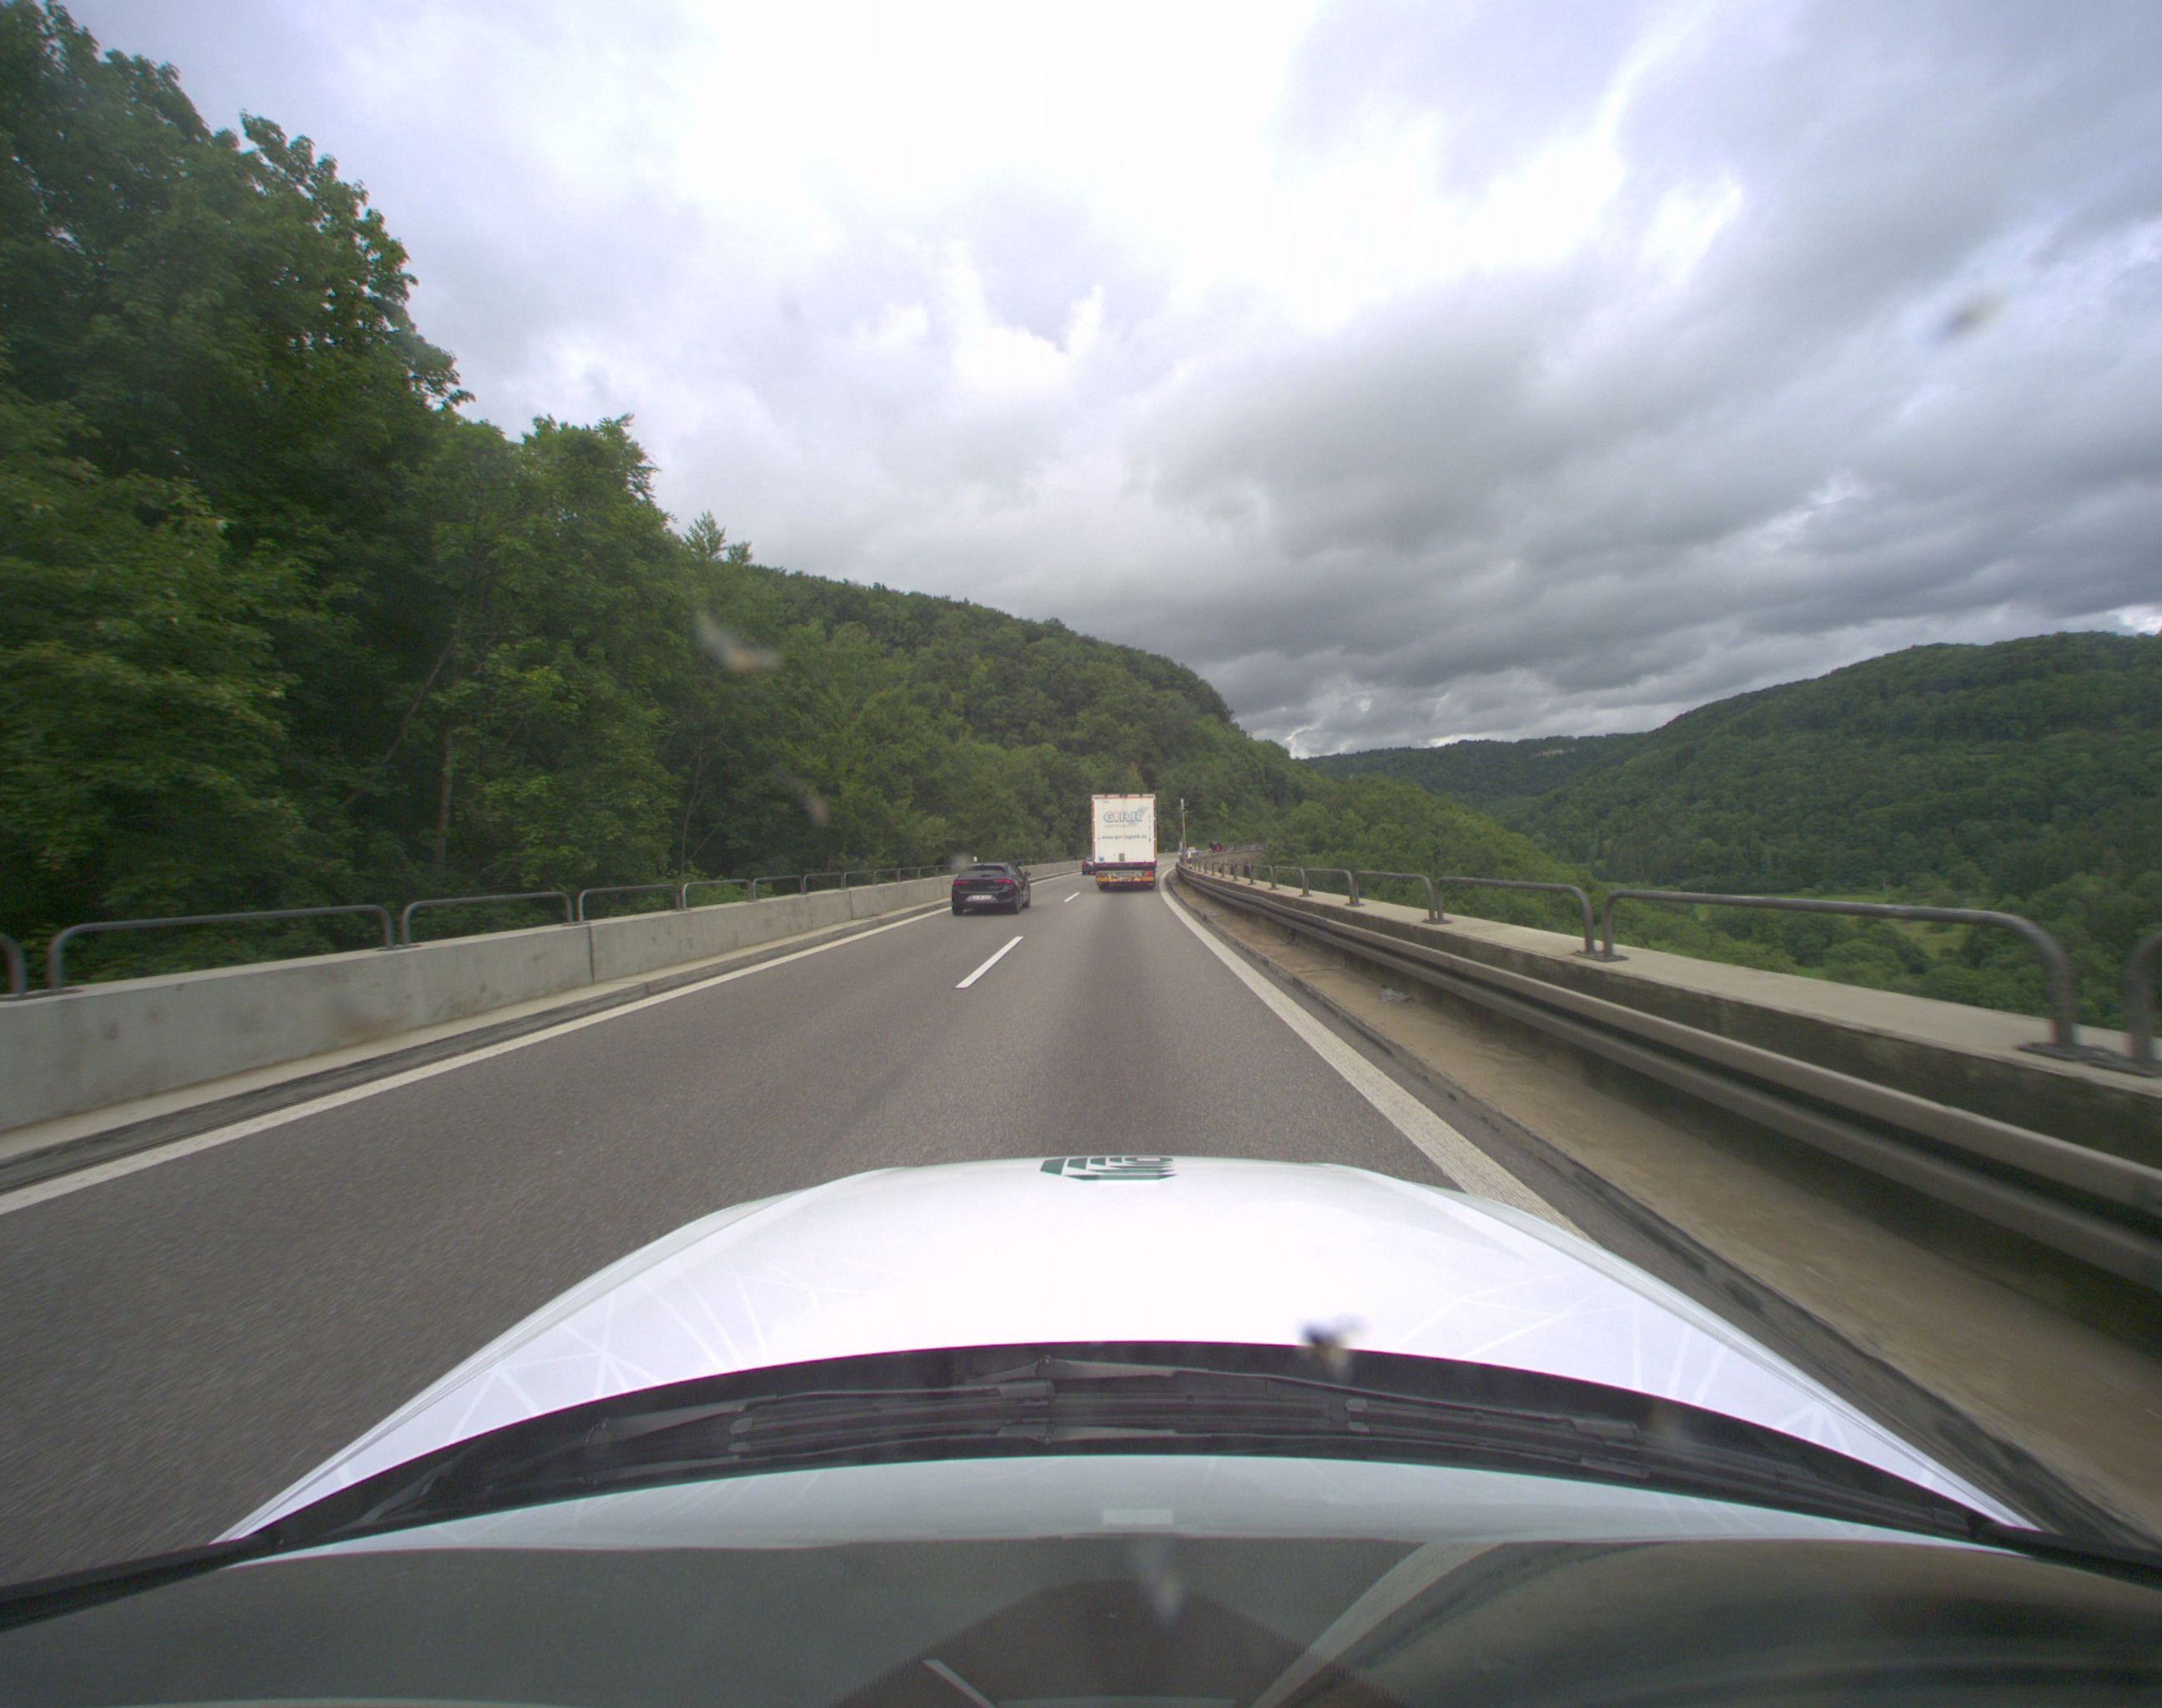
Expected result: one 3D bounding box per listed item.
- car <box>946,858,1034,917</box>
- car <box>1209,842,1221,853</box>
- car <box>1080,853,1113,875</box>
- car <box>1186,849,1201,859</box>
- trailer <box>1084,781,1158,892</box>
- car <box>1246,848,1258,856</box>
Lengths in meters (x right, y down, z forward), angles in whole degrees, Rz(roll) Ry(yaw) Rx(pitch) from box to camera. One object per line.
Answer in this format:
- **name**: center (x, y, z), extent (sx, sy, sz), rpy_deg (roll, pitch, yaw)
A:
- **car**: center (-2.461, 0.881, 23.232), extent (1.766, 1.461, 4.584), rpy_deg (-1, 0, 3)
- **car**: center (27.768, -1.303, 168.507), extent (1.978, 2.014, 4.018), rpy_deg (-2, -1, 17)
- **car**: center (1.161, 0.714, 59.115), extent (1.873, 1.510, 4.428), rpy_deg (-2, -1, 7)
- **car**: center (20.048, -0.017, 145.051), extent (1.978, 1.794, 4.017), rpy_deg (-2, -1, 17)
- **trailer**: center (2.158, -0.650, 38.412), extent (2.800, 4.302, 12.262), rpy_deg (-2, -1, 5)
- **car**: center (40.240, -0.510, 191.665), extent (1.976, 1.794, 4.020), rpy_deg (-2, -1, 21)
